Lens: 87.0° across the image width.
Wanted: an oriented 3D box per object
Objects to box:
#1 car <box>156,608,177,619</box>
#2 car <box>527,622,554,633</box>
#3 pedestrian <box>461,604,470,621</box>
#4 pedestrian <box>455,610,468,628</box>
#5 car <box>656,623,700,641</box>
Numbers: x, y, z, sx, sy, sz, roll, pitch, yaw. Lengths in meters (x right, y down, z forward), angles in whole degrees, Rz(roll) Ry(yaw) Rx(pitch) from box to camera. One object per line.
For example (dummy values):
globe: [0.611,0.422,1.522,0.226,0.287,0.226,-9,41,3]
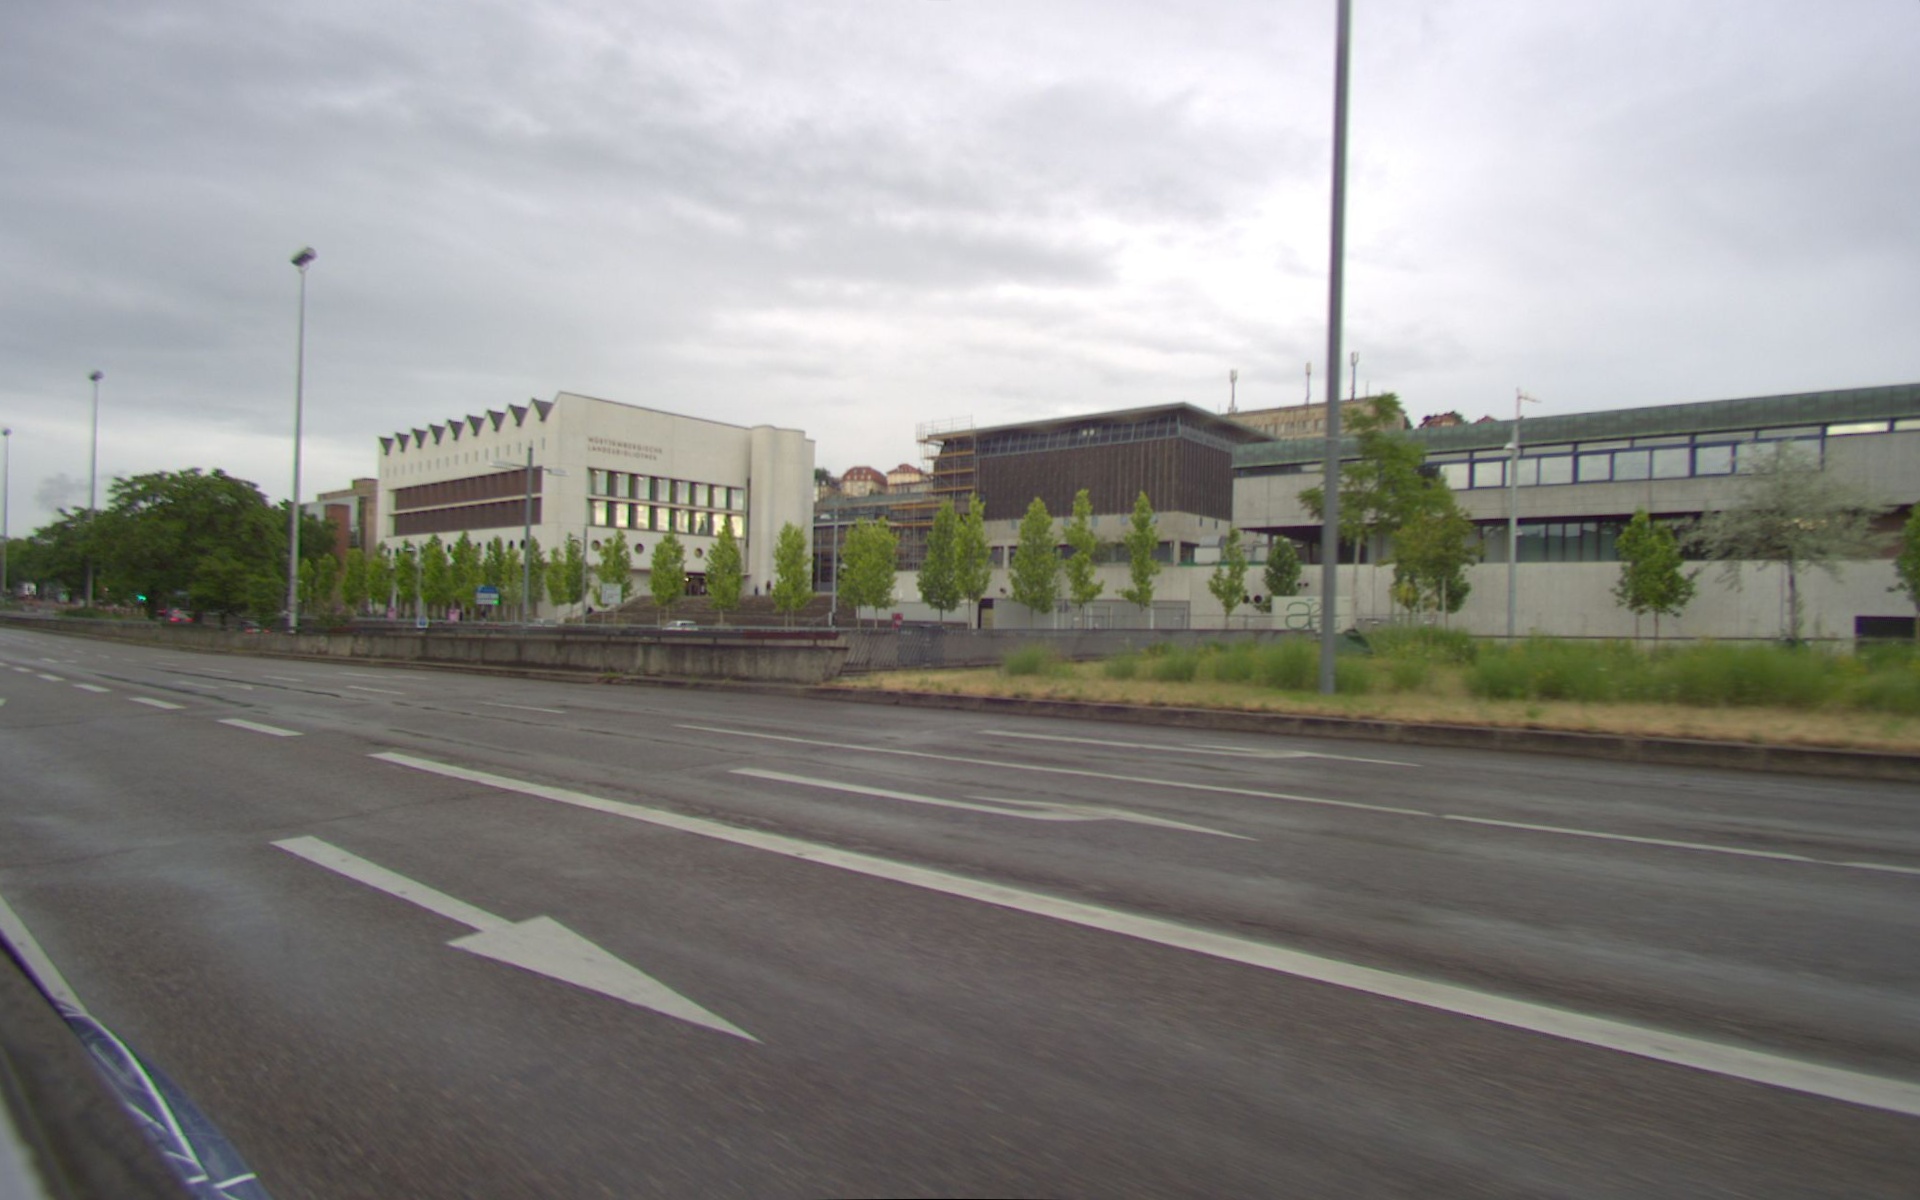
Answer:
car: [-116.466,1.921,148.566,3.472,1.567,1.677,1,0,39]
car: [-33.045,2.174,79.747,2.550,0.751,0.811,1,0,38]
pedestrian: [-57.345,1.461,117.440,0.729,1.873,0.703,0,0,-6]
pedestrian: [-53.078,2.031,107.805,1.071,1.880,0.831,0,0,-36]
car: [-19.212,2.181,68.946,3.019,1.122,1.425,1,0,40]
